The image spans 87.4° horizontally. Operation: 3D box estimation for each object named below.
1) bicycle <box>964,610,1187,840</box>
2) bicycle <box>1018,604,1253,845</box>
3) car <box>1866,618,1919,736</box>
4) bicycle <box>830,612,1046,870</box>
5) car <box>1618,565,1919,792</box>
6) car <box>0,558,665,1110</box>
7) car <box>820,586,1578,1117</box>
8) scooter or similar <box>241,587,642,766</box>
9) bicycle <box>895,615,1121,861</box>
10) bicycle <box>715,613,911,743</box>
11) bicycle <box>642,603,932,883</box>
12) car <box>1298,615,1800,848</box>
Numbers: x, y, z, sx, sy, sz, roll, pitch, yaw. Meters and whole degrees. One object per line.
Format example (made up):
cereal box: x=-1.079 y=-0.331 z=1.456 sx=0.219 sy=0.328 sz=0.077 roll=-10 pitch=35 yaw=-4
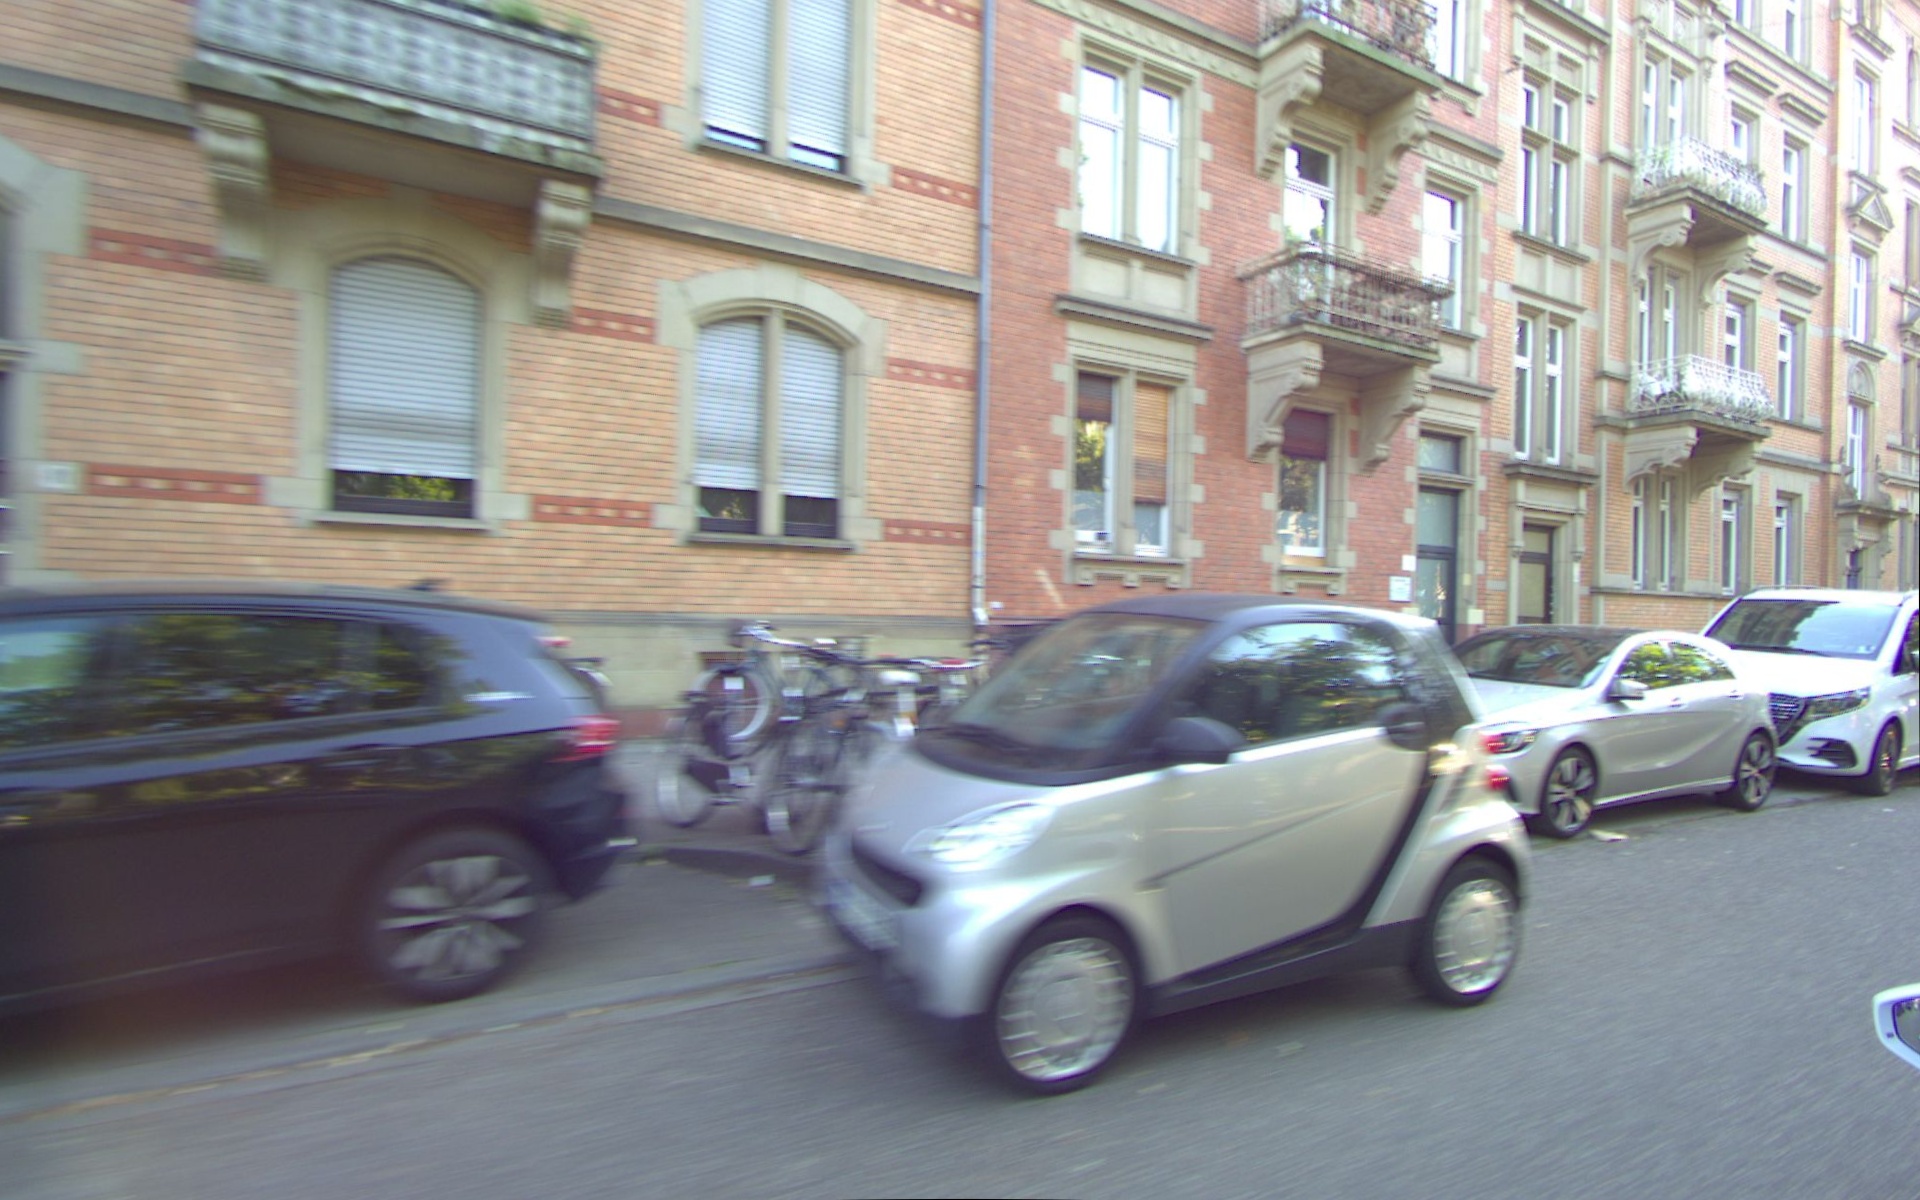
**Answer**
bicycle: x=0.666 y=0.713 z=6.452 sx=0.423 sy=1.231 sz=1.755 roll=3 pitch=0 yaw=-29
bicycle: x=1.102 y=0.738 z=6.733 sx=0.490 sy=1.365 sz=1.755 roll=3 pitch=0 yaw=-29
car: x=14.279 y=1.061 z=13.756 sx=3.954 sy=1.506 sz=1.661 roll=1 pitch=1 yaw=-31
bicycle: x=-0.200 y=0.723 z=5.874 sx=0.436 sy=1.231 sz=1.755 roll=3 pitch=0 yaw=-29
car: x=9.425 y=0.771 z=10.765 sx=4.984 sy=1.946 sz=1.983 roll=3 pitch=0 yaw=-31
car: x=-3.345 y=0.643 z=3.469 sx=4.112 sy=1.567 sz=1.734 roll=2 pitch=1 yaw=-36
car: x=0.975 y=0.728 z=4.087 sx=2.719 sy=1.454 sz=1.498 roll=1 pitch=-1 yaw=-29
scooter or similar: x=-4.016 y=0.595 z=8.014 sx=2.673 sy=1.238 sz=0.779 roll=3 pitch=0 yaw=-30
bicycle: x=0.220 y=0.743 z=6.131 sx=0.459 sy=1.231 sz=1.755 roll=3 pitch=0 yaw=-29
bicycle: x=-1.367 y=0.742 z=9.506 sx=1.746 sy=1.145 sz=0.425 roll=3 pitch=0 yaw=-27
bicycle: x=-1.043 y=0.680 z=5.577 sx=0.439 sy=1.231 sz=2.067 roll=3 pitch=0 yaw=-44
car: x=4.843 y=0.888 z=8.135 sx=4.159 sy=1.473 sz=1.667 roll=1 pitch=-2 yaw=-29
